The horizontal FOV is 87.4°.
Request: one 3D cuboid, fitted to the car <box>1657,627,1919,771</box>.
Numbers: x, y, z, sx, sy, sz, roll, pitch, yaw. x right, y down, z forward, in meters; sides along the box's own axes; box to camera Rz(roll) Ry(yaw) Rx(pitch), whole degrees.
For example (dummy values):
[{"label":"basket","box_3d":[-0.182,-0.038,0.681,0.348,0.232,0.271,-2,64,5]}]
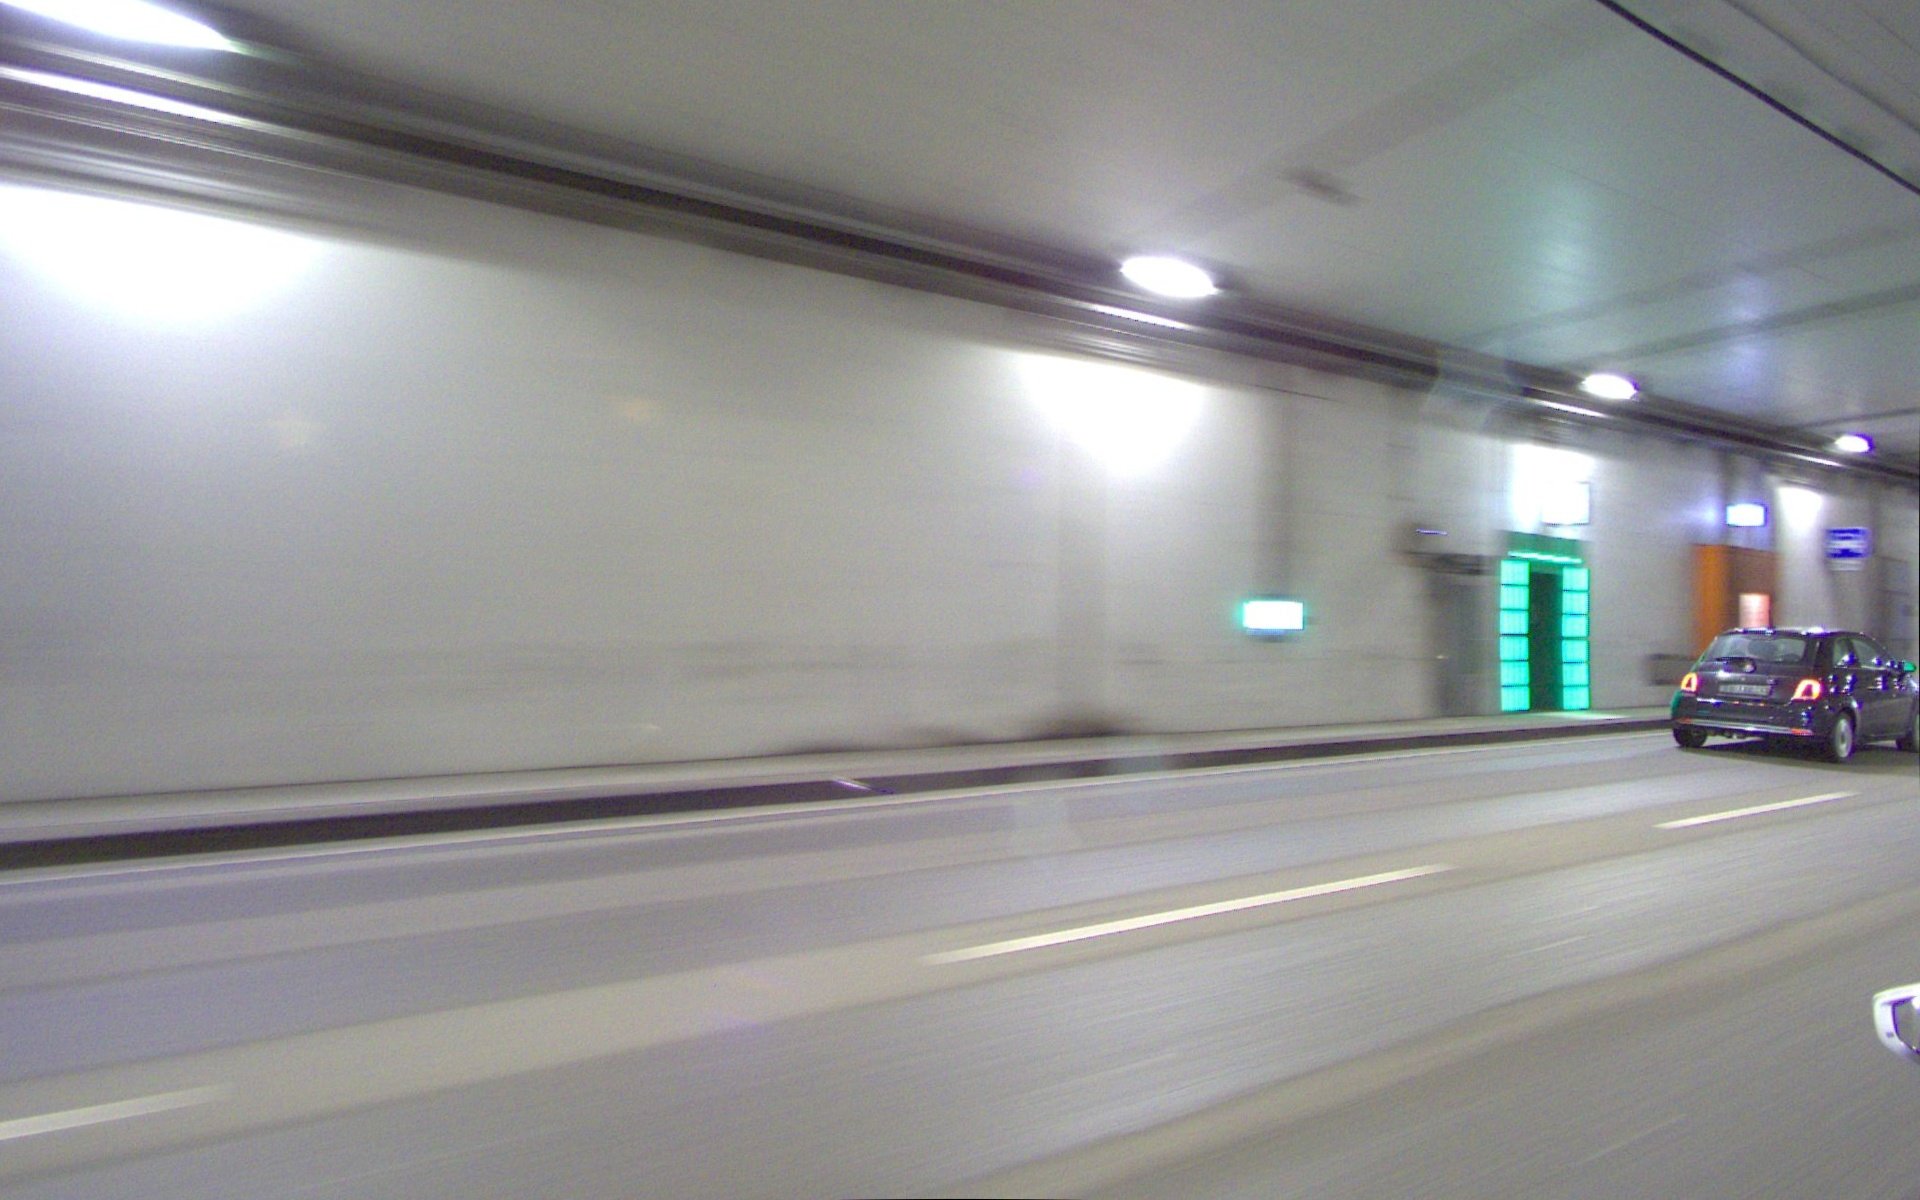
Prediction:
[{"label":"car","box_3d":[10.217,1.112,12.183,3.532,1.473,1.604,2,-1,-32]}]
